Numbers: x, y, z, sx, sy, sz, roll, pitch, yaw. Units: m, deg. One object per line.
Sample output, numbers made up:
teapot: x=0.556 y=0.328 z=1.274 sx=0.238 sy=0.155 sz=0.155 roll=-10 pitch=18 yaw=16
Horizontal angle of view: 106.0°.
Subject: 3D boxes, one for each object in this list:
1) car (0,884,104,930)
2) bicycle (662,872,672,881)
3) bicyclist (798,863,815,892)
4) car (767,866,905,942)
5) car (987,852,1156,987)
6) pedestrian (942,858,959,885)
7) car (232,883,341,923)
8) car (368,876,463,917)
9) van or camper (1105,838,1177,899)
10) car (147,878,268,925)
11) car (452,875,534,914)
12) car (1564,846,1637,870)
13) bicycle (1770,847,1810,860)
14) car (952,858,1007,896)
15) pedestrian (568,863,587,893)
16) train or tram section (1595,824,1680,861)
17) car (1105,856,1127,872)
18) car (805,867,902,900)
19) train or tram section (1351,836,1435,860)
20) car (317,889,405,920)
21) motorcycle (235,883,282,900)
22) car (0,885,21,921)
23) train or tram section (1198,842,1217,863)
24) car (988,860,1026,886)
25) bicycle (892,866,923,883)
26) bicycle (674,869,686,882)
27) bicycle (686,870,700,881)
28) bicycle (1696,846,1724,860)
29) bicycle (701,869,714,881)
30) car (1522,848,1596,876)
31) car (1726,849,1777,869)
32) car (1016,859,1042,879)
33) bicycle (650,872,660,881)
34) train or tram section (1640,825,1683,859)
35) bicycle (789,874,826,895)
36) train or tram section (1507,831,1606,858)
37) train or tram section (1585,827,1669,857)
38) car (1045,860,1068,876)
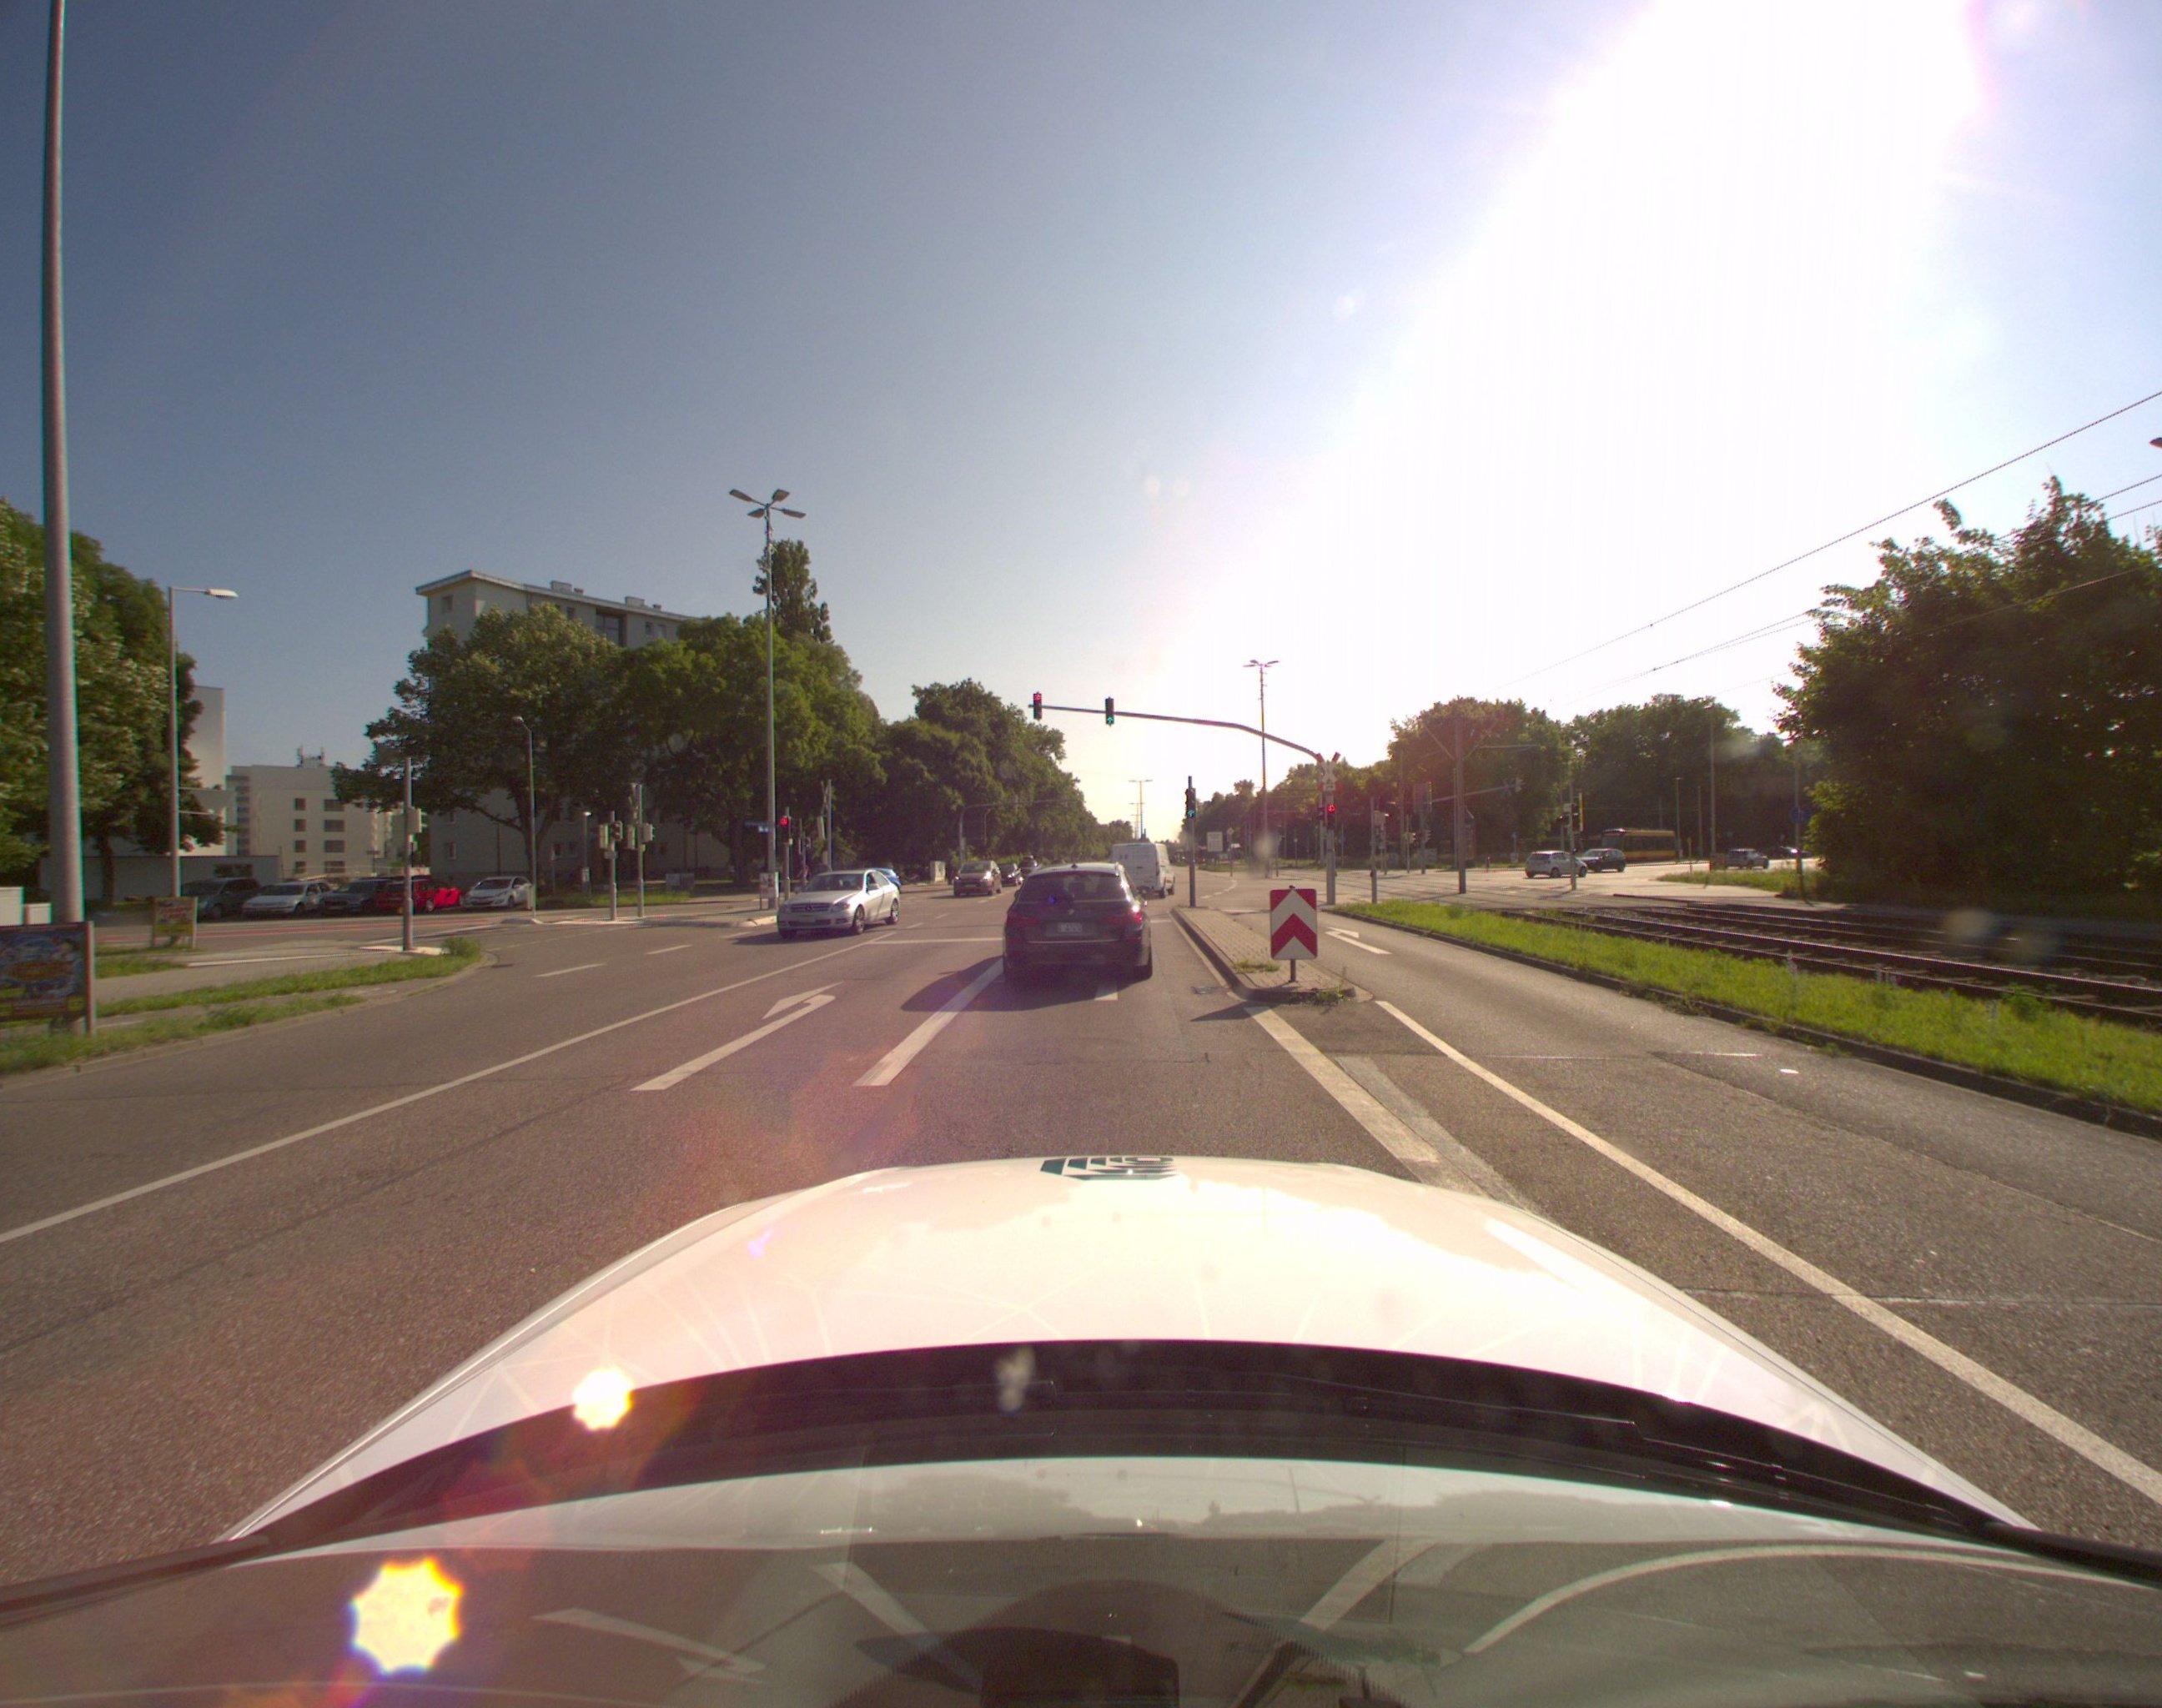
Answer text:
car: x=-44.289 y=2.192 z=34.269 sx=1.785 sy=1.477 sz=4.785 roll=-1 pitch=2 yaw=-19
bicycle: x=-33.390 y=1.792 z=65.632 sx=0.508 sy=0.708 sz=2.094 roll=-1 pitch=0 yaw=-32
bicyclist: x=-15.016 y=1.286 z=44.608 sx=0.602 sy=1.560 sz=0.606 roll=-2 pitch=-1 yaw=25
car: x=-5.634 y=1.084 z=19.339 sx=1.695 sy=1.465 sz=4.373 roll=-3 pitch=0 yaw=3
car: x=-0.011 y=0.758 z=11.304 sx=1.895 sy=1.506 sz=4.068 roll=-1 pitch=0 yaw=3
pedestrian: x=-8.654 y=1.128 z=54.010 sx=0.811 sy=1.752 sz=0.933 roll=-1 pitch=0 yaw=7
car: x=-35.332 y=2.130 z=36.376 sx=1.783 sy=1.521 sz=3.978 roll=-1 pitch=0 yaw=-16
car: x=-30.712 y=1.928 z=37.725 sx=1.782 sy=1.415 sz=3.983 roll=-1 pitch=3 yaw=-14
van or camper: x=2.345 y=0.517 z=30.553 sx=1.980 sy=2.096 sz=4.614 roll=-1 pitch=0 yaw=12
car: x=-37.980 y=2.018 z=35.550 sx=1.783 sy=1.811 sz=3.978 roll=-1 pitch=0 yaw=-16
car: x=-27.822 y=1.877 z=38.681 sx=1.783 sy=1.439 sz=3.980 roll=-1 pitch=3 yaw=-15
car: x=36.094 y=0.281 z=56.571 sx=4.871 sy=1.563 sz=2.027 roll=-1 pitch=0 yaw=-26
bicycle: x=78.937 y=-0.031 z=90.674 sx=1.131 sy=1.454 sz=3.207 roll=0 pitch=-1 yaw=-20
car: x=-4.542 y=0.998 z=36.959 sx=1.738 sy=1.562 sz=4.003 roll=-3 pitch=0 yaw=3
pedestrian: x=-29.340 y=1.401 z=47.448 sx=0.619 sy=1.713 sz=0.707 roll=-1 pitch=0 yaw=14
train or tram section: x=57.783 y=-1.234 z=84.377 sx=11.897 sy=3.579 sz=3.022 roll=-1 pitch=0 yaw=-34
car: x=3.302 y=0.922 z=76.002 sx=1.821 sy=1.431 sz=4.736 roll=-2 pitch=0 yaw=4
car: x=-11.008 y=1.389 z=39.609 sx=1.762 sy=1.414 sz=4.271 roll=-2 pitch=0 yaw=39
train or tram section: x=50.752 y=-0.876 z=132.631 sx=12.278 sy=3.579 sz=3.073 roll=-1 pitch=-1 yaw=33
car: x=-32.690 y=2.255 z=37.101 sx=1.463 sy=1.193 sz=3.767 roll=-1 pitch=0 yaw=-15
motorcycle: x=-52.142 y=2.347 z=51.652 sx=0.520 sy=0.965 sz=2.057 roll=-1 pitch=0 yaw=36
car: x=-46.007 y=2.188 z=32.720 sx=1.785 sy=1.476 sz=4.686 roll=-1 pitch=3 yaw=-19
train or tram section: x=22.900 y=-0.204 z=148.325 sx=2.782 sy=3.618 sz=12.976 roll=0 pitch=-1 yaw=6
car: x=-4.557 y=1.159 z=50.659 sx=1.882 sy=1.474 sz=4.099 roll=-2 pitch=0 yaw=0
bicycle: x=-11.502 y=1.362 z=54.039 sx=1.902 sy=1.119 sz=0.632 roll=-1 pitch=-1 yaw=2
bicycle: x=-32.514 y=1.741 z=65.944 sx=0.615 sy=1.066 sz=1.896 roll=0 pitch=-2 yaw=-34
bicycle: x=-31.770 y=1.756 z=66.656 sx=0.678 sy=0.875 sz=2.460 roll=-1 pitch=0 yaw=-32
bicycle: x=79.361 y=-0.095 z=102.766 sx=0.798 sy=1.713 sz=2.585 roll=-1 pitch=0 yaw=-33
bicycle: x=-30.856 y=1.740 z=67.243 sx=0.673 sy=0.919 sz=2.382 roll=-1 pitch=0 yaw=-32
car: x=28.743 y=0.479 z=48.958 sx=4.212 sy=1.563 sz=1.840 roll=-1 pitch=0 yaw=-26
car: x=48.567 y=0.350 z=58.978 sx=3.538 sy=1.383 sz=1.592 roll=-1 pitch=0 yaw=-28
car: x=-4.204 y=1.195 z=66.292 sx=1.783 sy=1.520 sz=4.000 roll=-2 pitch=0 yaw=0
bicycle: x=-34.142 y=1.795 z=65.258 sx=0.587 sy=0.708 sz=2.215 roll=-1 pitch=0 yaw=-32
train or tram section: x=66.349 y=-1.337 z=93.318 sx=3.015 sy=3.579 sz=12.307 roll=-1 pitch=0 yaw=31
bicycle: x=-14.975 y=1.670 z=44.672 sx=0.614 sy=1.040 sz=2.084 roll=-1 pitch=0 yaw=25
train or tram section: x=67.650 y=-1.269 z=116.301 sx=3.064 sy=3.579 sz=12.108 roll=-1 pitch=0 yaw=-31
train or tram section: x=69.939 y=-1.420 z=104.788 sx=3.031 sy=3.579 sz=12.241 roll=-1 pitch=0 yaw=3
car: x=-2.698 y=1.552 z=91.002 sx=1.979 sy=1.659 sz=4.392 roll=-2 pitch=0 yaw=6
